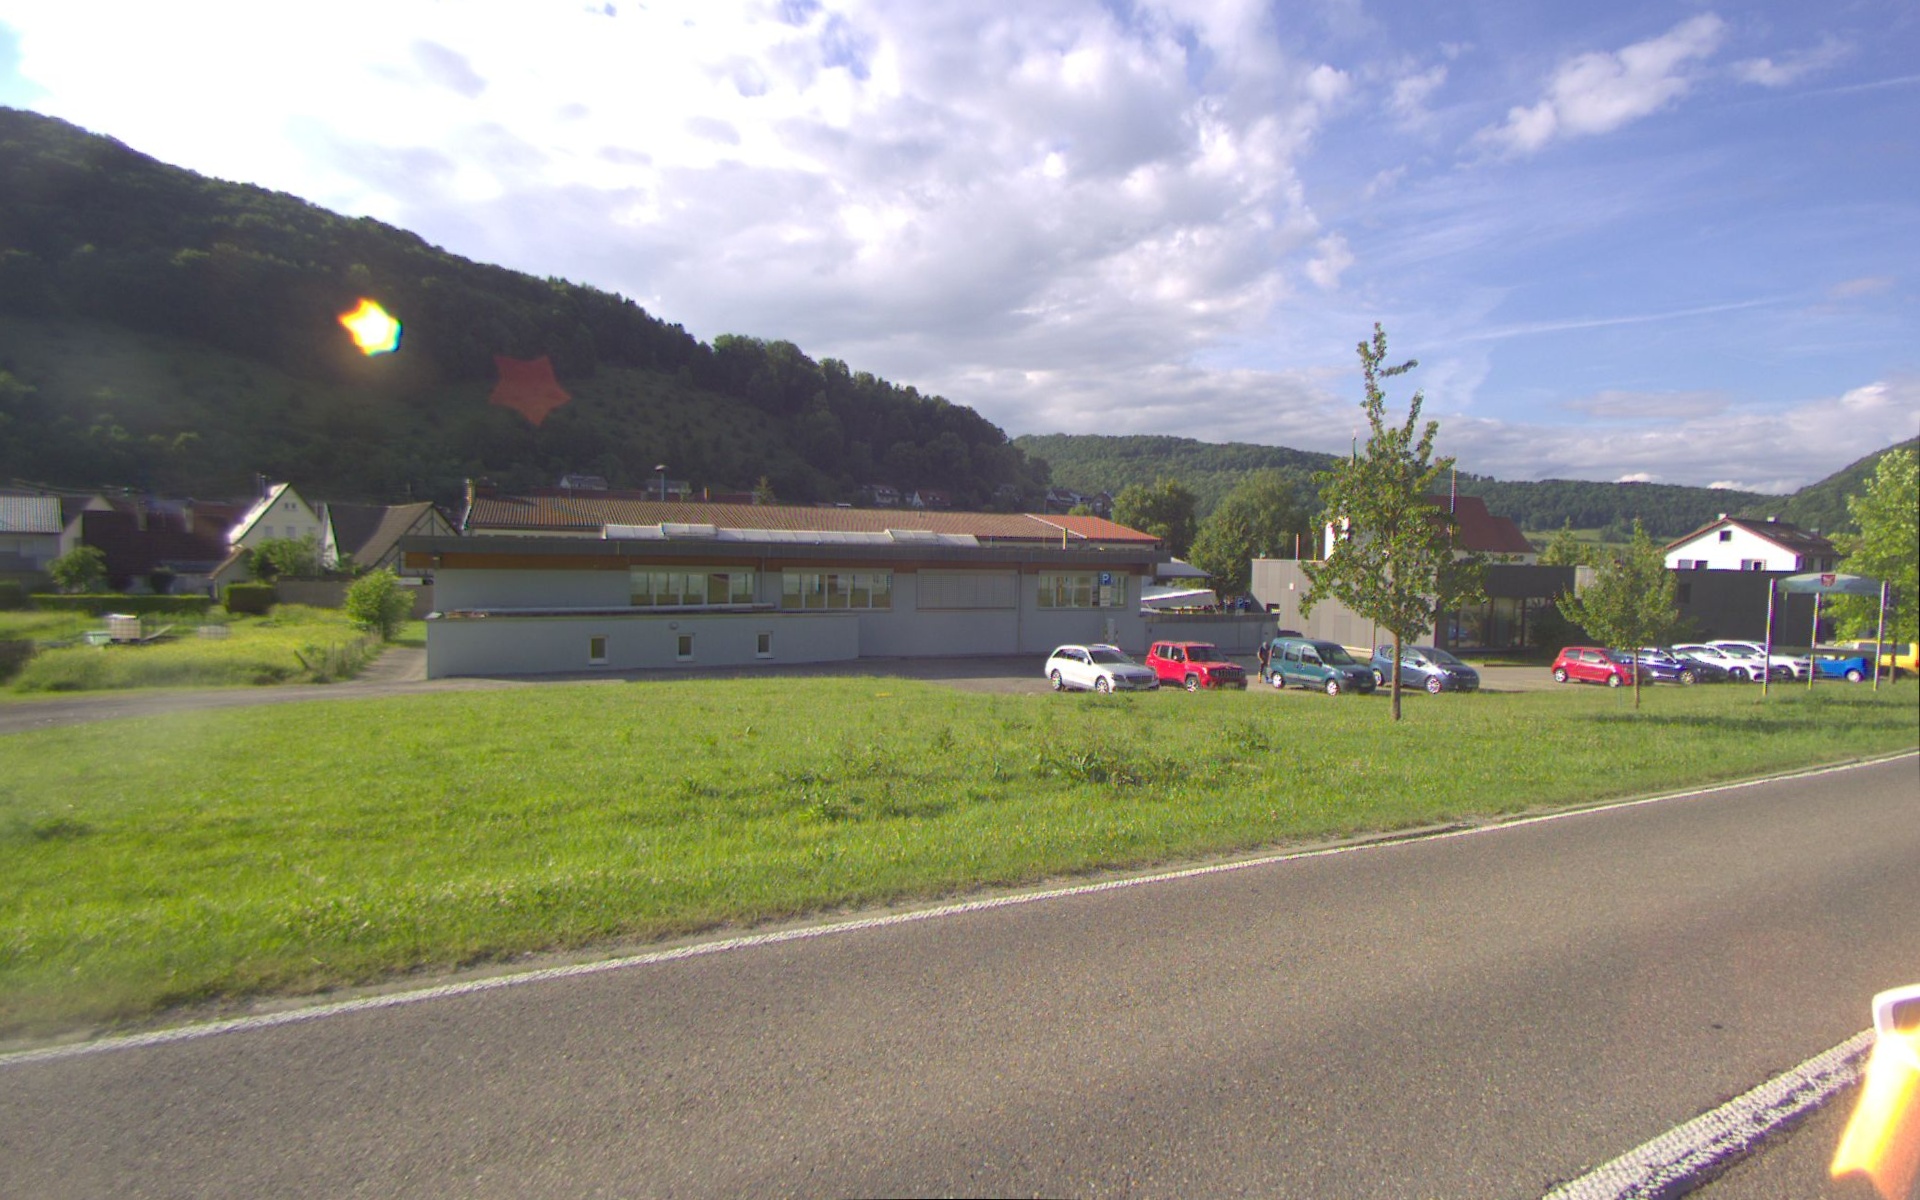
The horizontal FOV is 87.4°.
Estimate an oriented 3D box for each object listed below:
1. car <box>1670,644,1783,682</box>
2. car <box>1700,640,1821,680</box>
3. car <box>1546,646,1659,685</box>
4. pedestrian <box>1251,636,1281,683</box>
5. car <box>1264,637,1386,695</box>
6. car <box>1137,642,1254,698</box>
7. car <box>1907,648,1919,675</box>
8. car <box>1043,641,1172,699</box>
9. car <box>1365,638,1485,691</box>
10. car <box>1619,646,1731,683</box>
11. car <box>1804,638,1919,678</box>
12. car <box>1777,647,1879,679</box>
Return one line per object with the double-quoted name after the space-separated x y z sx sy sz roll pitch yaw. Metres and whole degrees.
33.391 2.707 43.847 1.573 1.513 3.660 1 -2 -22 "car"
36.164 2.687 45.515 1.573 1.695 4.070 1 -2 -22 "car"
25.944 2.626 40.670 1.624 1.463 3.618 1 -2 -22 "car"
11.551 2.231 37.917 0.696 1.716 0.791 2 1 -29 "pedestrian"
12.588 2.243 34.865 1.732 1.745 3.850 2 0 -25 "car"
7.547 2.209 32.589 1.731 1.600 3.911 2 -1 -23 "car"
52.965 3.299 53.289 1.487 1.458 3.706 1 -2 -22 "car"
4.623 2.186 32.253 1.972 1.610 4.630 2 -1 -23 "car"
16.810 2.300 36.511 1.707 1.744 3.809 2 -1 -23 "car"
30.368 2.709 42.764 1.573 1.423 3.618 1 -2 -22 "car"
44.078 2.776 48.718 1.814 1.838 4.545 1 -2 -22 "car"
41.548 2.988 48.124 1.640 1.391 3.354 2 -2 -29 "car"
